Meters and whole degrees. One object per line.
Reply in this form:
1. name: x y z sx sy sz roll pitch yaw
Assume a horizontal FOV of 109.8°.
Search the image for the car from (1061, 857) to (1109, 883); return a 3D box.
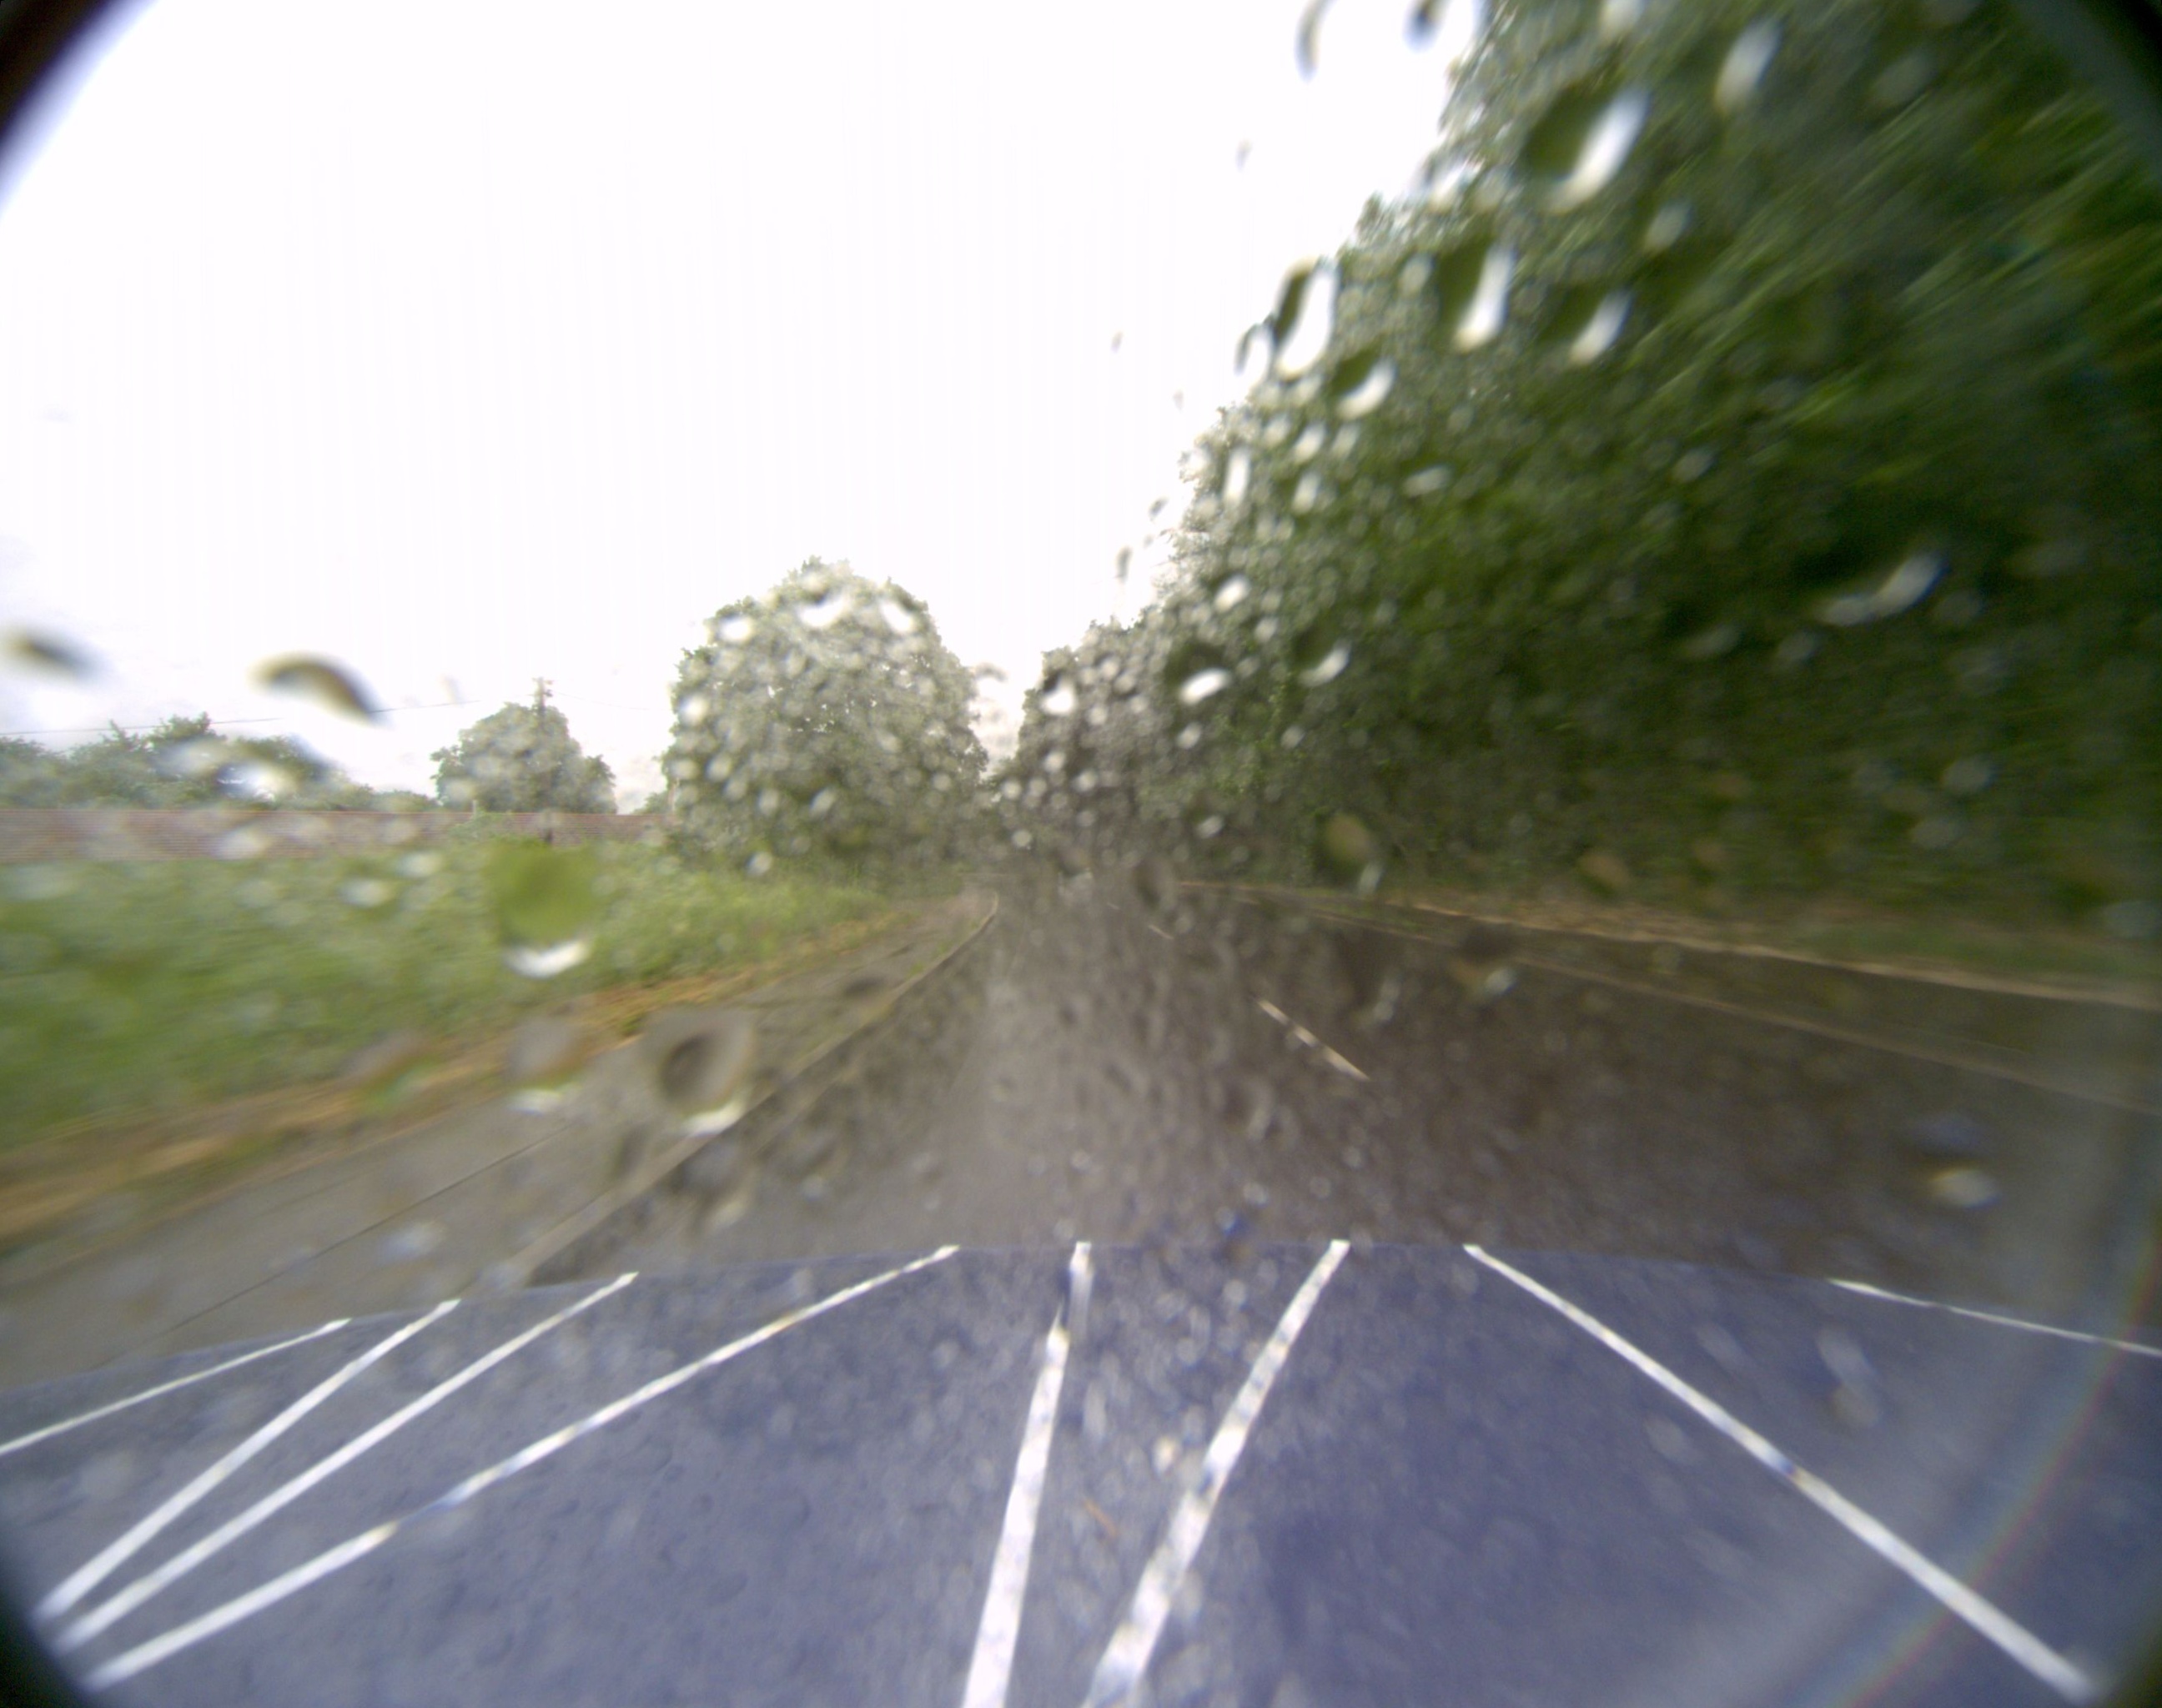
1. car: 0.178 0.928 45.067 2.142 1.341 4.303 -3 0 -8
